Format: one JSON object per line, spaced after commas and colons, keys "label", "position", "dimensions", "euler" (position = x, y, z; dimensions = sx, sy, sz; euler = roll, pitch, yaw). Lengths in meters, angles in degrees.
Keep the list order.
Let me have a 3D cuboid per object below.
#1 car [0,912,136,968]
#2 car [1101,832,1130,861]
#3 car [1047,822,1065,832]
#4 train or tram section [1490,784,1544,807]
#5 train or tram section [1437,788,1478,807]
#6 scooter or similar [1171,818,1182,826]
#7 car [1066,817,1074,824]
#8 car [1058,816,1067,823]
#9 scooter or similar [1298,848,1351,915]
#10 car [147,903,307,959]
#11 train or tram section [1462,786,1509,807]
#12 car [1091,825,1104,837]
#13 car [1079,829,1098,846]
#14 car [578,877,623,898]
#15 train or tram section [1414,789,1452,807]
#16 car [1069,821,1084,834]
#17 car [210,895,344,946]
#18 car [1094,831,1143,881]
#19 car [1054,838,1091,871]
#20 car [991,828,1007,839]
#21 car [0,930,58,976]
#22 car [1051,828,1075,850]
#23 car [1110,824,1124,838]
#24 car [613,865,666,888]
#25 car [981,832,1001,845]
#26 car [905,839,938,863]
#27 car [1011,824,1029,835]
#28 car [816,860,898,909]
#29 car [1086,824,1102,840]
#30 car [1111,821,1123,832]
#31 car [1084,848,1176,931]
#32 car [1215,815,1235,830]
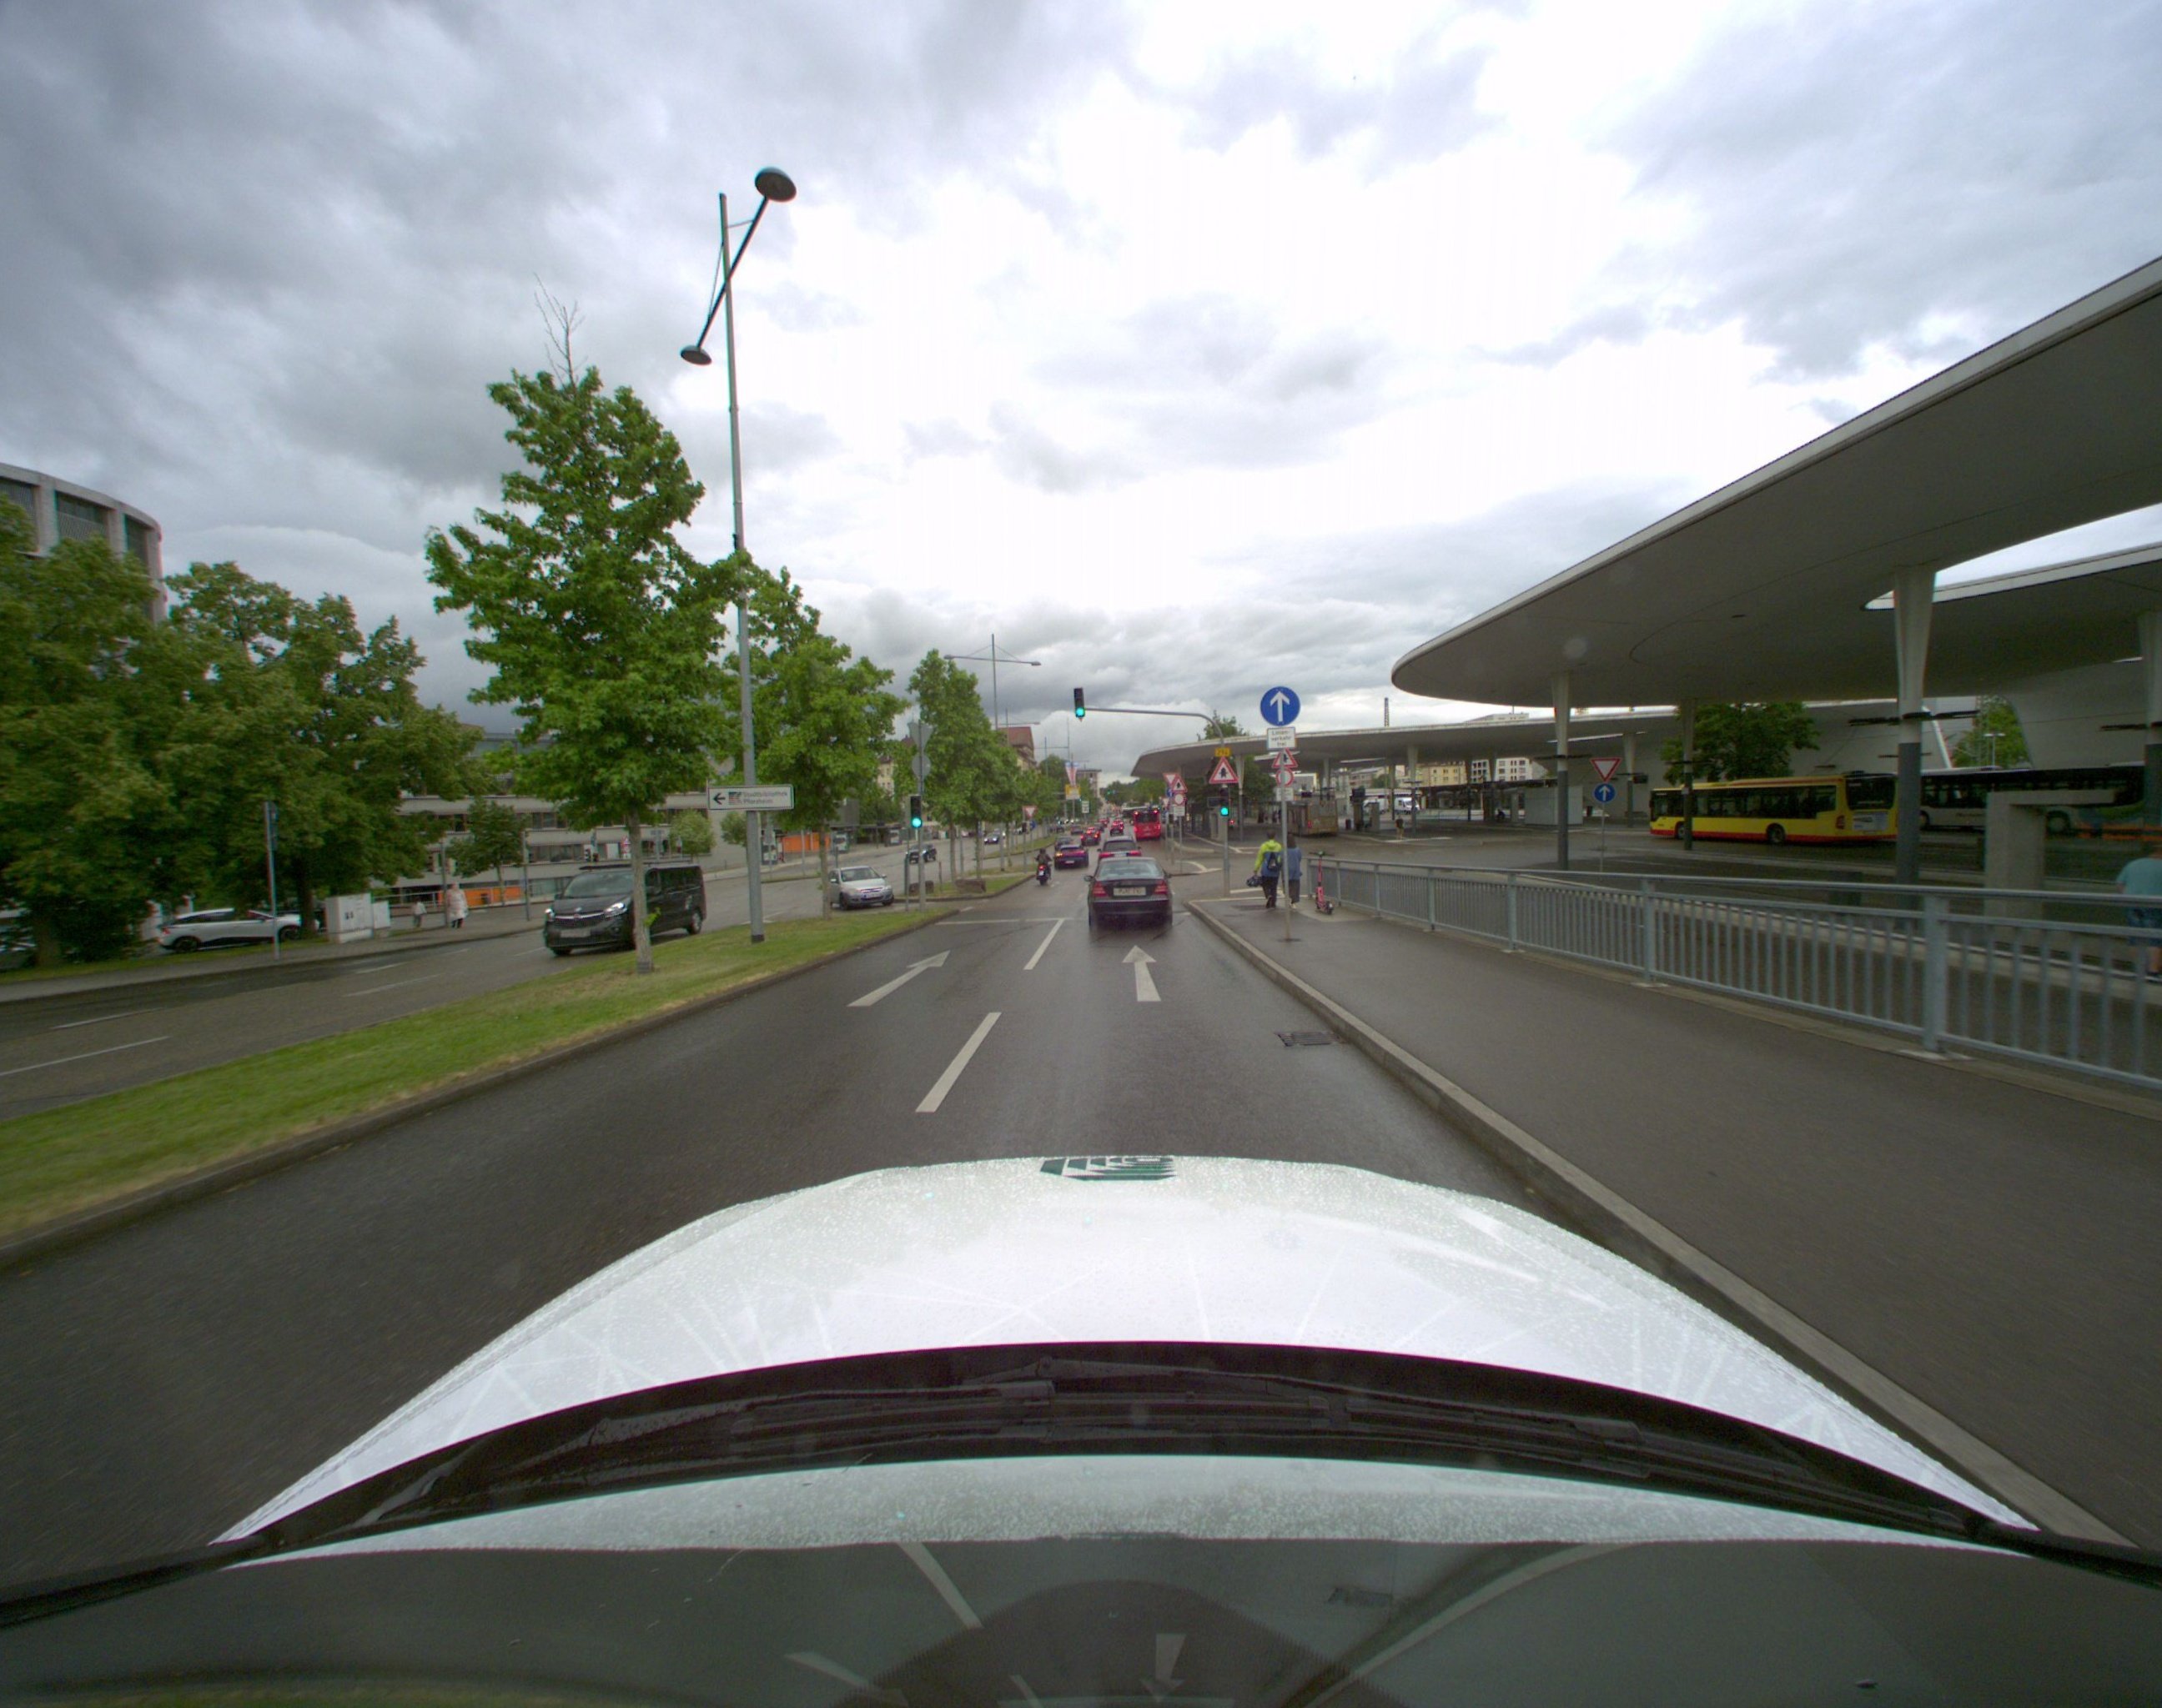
{"label": "car", "position": [-38.340, 3.207, 30.355], "dimensions": [1.707, 1.567, 3.862], "euler": [-1, 3, 45]}
{"label": "car", "position": [2.345, -0.521, 54.606], "dimensions": [1.734, 1.566, 3.875], "euler": [-5, 3, 3]}
{"label": "car", "position": [-4.108, -4.357, 132.667], "dimensions": [1.733, 1.560, 3.743], "euler": [-3, 1, -20]}
{"label": "train or tram section", "position": [73.714, -9.812, 138.017], "dimensions": [3.119, 3.677, 11.624], "euler": [0, 3, 2]}
{"label": "train or tram section", "position": [74.388, -11.110, 161.210], "dimensions": [3.119, 3.658, 11.625], "euler": [0, 3, 2]}
{"label": "scooter or similar", "position": [12.842, -4.282, 109.381], "dimensions": [1.233, 1.012, 0.767], "euler": [-3, 2, 16]}
{"label": "car", "position": [-2.673, -8.370, 202.605], "dimensions": [1.569, 1.566, 3.433], "euler": [-5, 3, 3]}
{"label": "car", "position": [-4.436, -8.302, 196.643], "dimensions": [1.773, 1.566, 3.433], "euler": [-5, 3, 3]}
{"label": "scooter or similar", "position": [4.724, 0.509, 15.916], "dimensions": [0.462, 1.221, 1.860], "euler": [-3, -1, 2]}
{"label": "car", "position": [-32.832, 2.909, 31.498], "dimensions": [4.080, 1.508, 1.707], "euler": [-6, 3, -44]}
{"label": "train or tram section", "position": [74.078, -10.468, 149.600], "dimensions": [3.119, 3.680, 11.625], "euler": [0, 3, 2]}
{"label": "car", "position": [2.430, -3.365, 121.266], "dimensions": [1.858, 1.684, 4.002], "euler": [0, 0, 2]}
{"label": "car", "position": [0.781, -1.696, 82.517], "dimensions": [1.569, 1.504, 3.876], "euler": [-5, 3, 3]}
{"label": "car", "position": [-34.962, 2.429, 59.247], "dimensions": [3.536, 1.350, 1.493], "euler": [-1, 2, 36]}
{"label": "train or tram section", "position": [74.741, -11.802, 173.171], "dimensions": [3.119, 3.658, 12.333], "euler": [0, 3, 2]}
{"label": "car", "position": [-0.632, -3.826, 117.561], "dimensions": [1.858, 1.684, 4.002], "euler": [0, 0, 2]}
{"label": "car", "position": [-33.855, 2.745, 34.381], "dimensions": [1.707, 1.567, 3.862], "euler": [-1, 3, 45]}
{"label": "car", "position": [1.731, 0.023, 37.644], "dimensions": [1.949, 1.875, 4.878], "euler": [-5, 3, 3]}
{"label": "car", "position": [-0.473, 0.004, 48.854], "dimensions": [1.809, 1.570, 4.408], "euler": [-5, 3, 3]}
{"label": "car", "position": [-12.956, -3.260, 128.428], "dimensions": [1.840, 1.652, 4.423], "euler": [-3, 3, 2]}
{"label": "car", "position": [-36.772, 3.442, 27.016], "dimensions": [1.479, 1.296, 3.338], "euler": [-1, 3, 43]}
{"label": "car", "position": [-1.521, -1.323, 70.930], "dimensions": [1.669, 1.622, 3.875], "euler": [-5, 3, 3]}
{"label": "car", "position": [4.610, -2.931, 103.886], "dimensions": [1.569, 1.566, 3.875], "euler": [-5, 3, 3]}
{"label": "car", "position": [-36.184, 1.792, 66.766], "dimensions": [1.614, 1.495, 3.600], "euler": [-3, 3, 18]}
{"label": "car", "position": [-12.066, -2.151, 109.386], "dimensions": [1.839, 1.504, 4.925], "euler": [-3, 3, 3]}
{"label": "car", "position": [-13.977, -0.308, 71.502], "dimensions": [1.903, 1.661, 4.857], "euler": [-3, 4, -1]}
{"label": "car", "position": [-10.854, -4.298, 144.195], "dimensions": [1.654, 1.804, 3.601], "euler": [1, -1, -34]}
{"label": "car", "position": [-7.809, 1.036, 28.221], "dimensions": [1.643, 1.448, 3.837], "euler": [-5, 1, -31]}
{"label": "car", "position": [1.485, -2.477, 92.085], "dimensions": [1.569, 1.566, 3.875], "euler": [-5, 3, 3]}
{"label": "car", "position": [5.808, -4.403, 130.897], "dimensions": [1.858, 1.684, 4.002], "euler": [0, 0, 2]}
{"label": "car", "position": [1.012, 0.662, 17.547], "dimensions": [1.691, 1.462, 4.306], "euler": [-2, 1, 2]}
{"label": "car", "position": [17.403, -3.800, 98.424], "dimensions": [1.705, 1.661, 4.242], "euler": [-2, 3, 2]}
